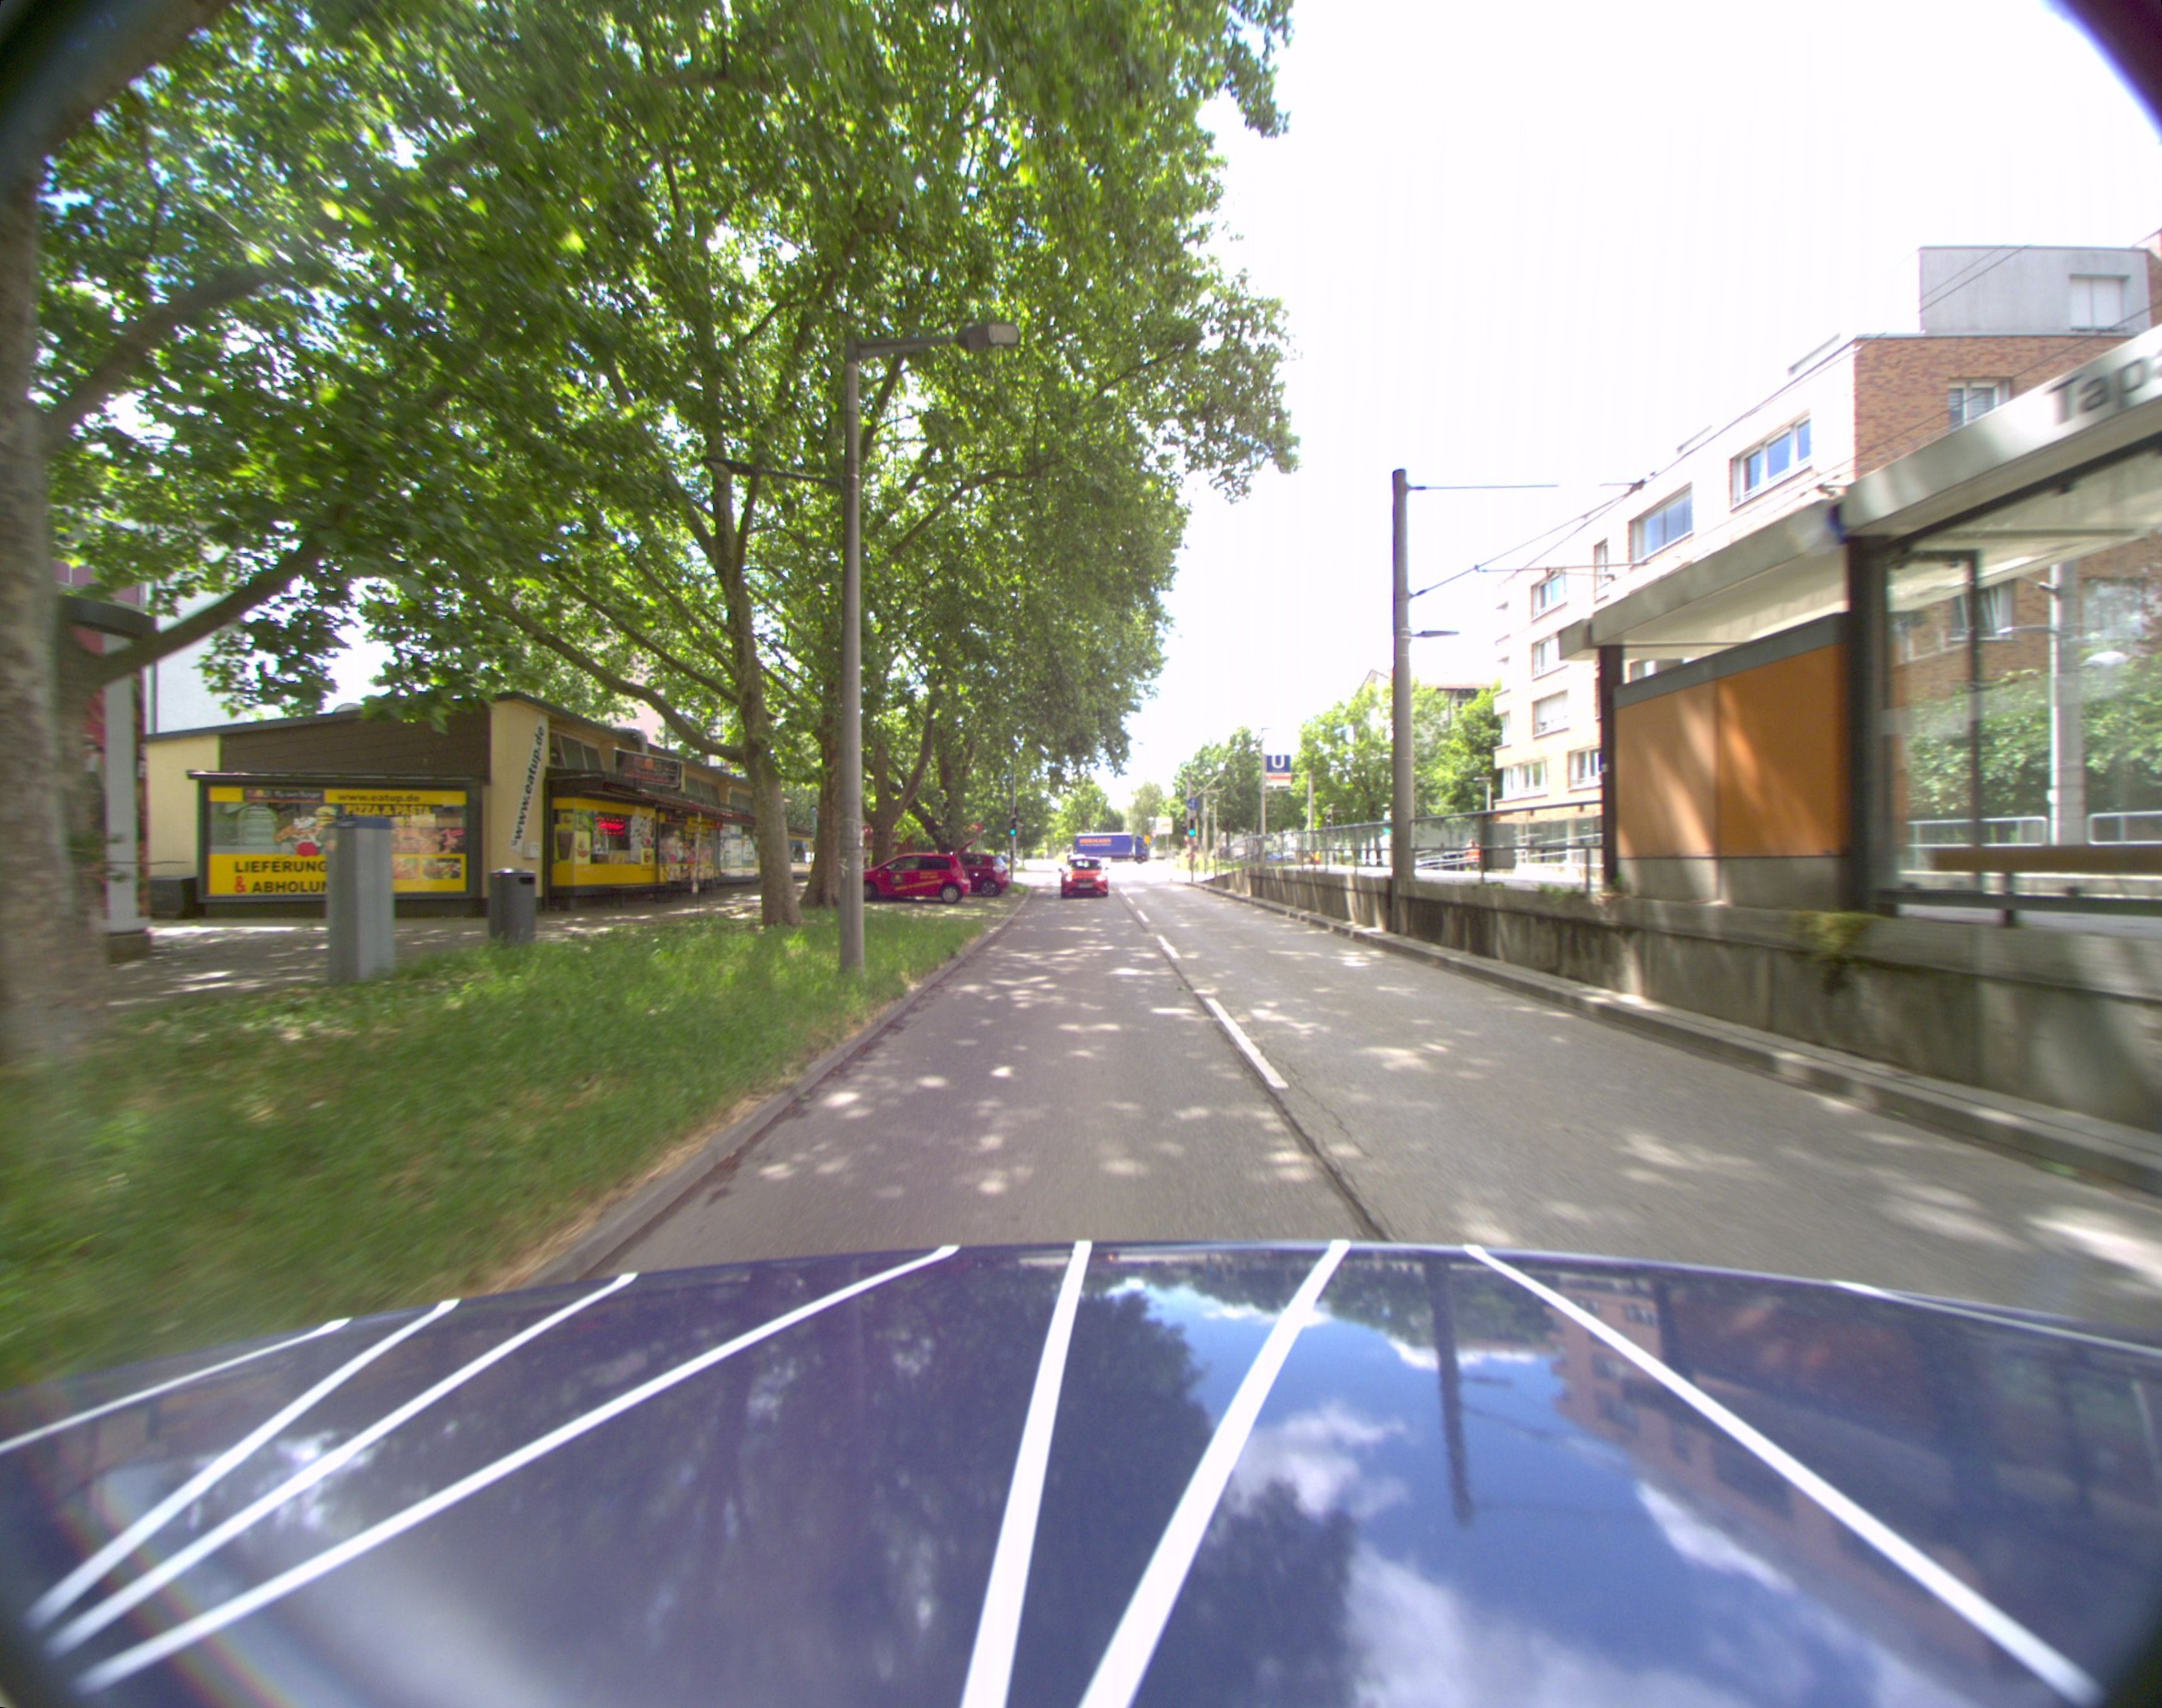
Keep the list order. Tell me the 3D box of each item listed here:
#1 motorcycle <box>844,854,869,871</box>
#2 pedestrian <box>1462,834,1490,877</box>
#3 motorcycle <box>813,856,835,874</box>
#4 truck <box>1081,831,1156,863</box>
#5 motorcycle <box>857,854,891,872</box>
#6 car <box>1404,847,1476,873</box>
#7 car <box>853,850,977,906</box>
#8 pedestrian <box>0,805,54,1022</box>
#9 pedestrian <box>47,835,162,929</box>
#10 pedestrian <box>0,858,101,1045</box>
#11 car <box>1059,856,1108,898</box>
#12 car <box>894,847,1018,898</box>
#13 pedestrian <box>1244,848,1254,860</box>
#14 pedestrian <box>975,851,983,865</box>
[{"bbox_3d":[-15.824,0.602,53.428,2.132,1.188,0.741,0,0,44],"label":"motorcycle"},{"bbox_3d":[16.860,0.085,32.436,0.745,1.814,0.829,0,0,0],"label":"pedestrian"},{"bbox_3d":[-17.388,0.715,51.378,0.741,1.188,2.132,0,1,-40],"label":"motorcycle"},{"bbox_3d":[4.897,-0.888,99.295,9.598,4.069,2.632,0,0,4],"label":"truck"},{"bbox_3d":[-13.990,0.597,51.354,2.135,1.188,0.740,0,0,9],"label":"motorcycle"},{"bbox_3d":[22.400,0.385,47.464,3.681,1.468,1.588,2,0,3],"label":"car"},{"bbox_3d":[-4.958,0.711,23.086,3.416,1.506,1.609,2,0,-3],"label":"car"},{"bbox_3d":[-9.723,0.510,6.439,0.745,1.872,0.941,1,1,0],"label":"pedestrian"},{"bbox_3d":[-16.490,0.454,12.861,0.752,1.526,0.907,-1,1,-6],"label":"pedestrian"},{"bbox_3d":[-8.645,0.755,5.929,0.627,1.439,1.028,-1,0,1],"label":"pedestrian"},{"bbox_3d":[0.138,0.839,29.197,1.712,1.439,3.670,-2,0,1],"label":"car"},{"bbox_3d":[-4.453,0.630,27.389,4.038,1.602,1.731,3,1,3],"label":"car"},{"bbox_3d":[23.071,0.012,104.271,0.877,1.655,1.019,0,1,-43],"label":"pedestrian"},{"bbox_3d":[-10.571,0.421,78.886,0.726,1.529,0.654,0,0,-4],"label":"pedestrian"}]
